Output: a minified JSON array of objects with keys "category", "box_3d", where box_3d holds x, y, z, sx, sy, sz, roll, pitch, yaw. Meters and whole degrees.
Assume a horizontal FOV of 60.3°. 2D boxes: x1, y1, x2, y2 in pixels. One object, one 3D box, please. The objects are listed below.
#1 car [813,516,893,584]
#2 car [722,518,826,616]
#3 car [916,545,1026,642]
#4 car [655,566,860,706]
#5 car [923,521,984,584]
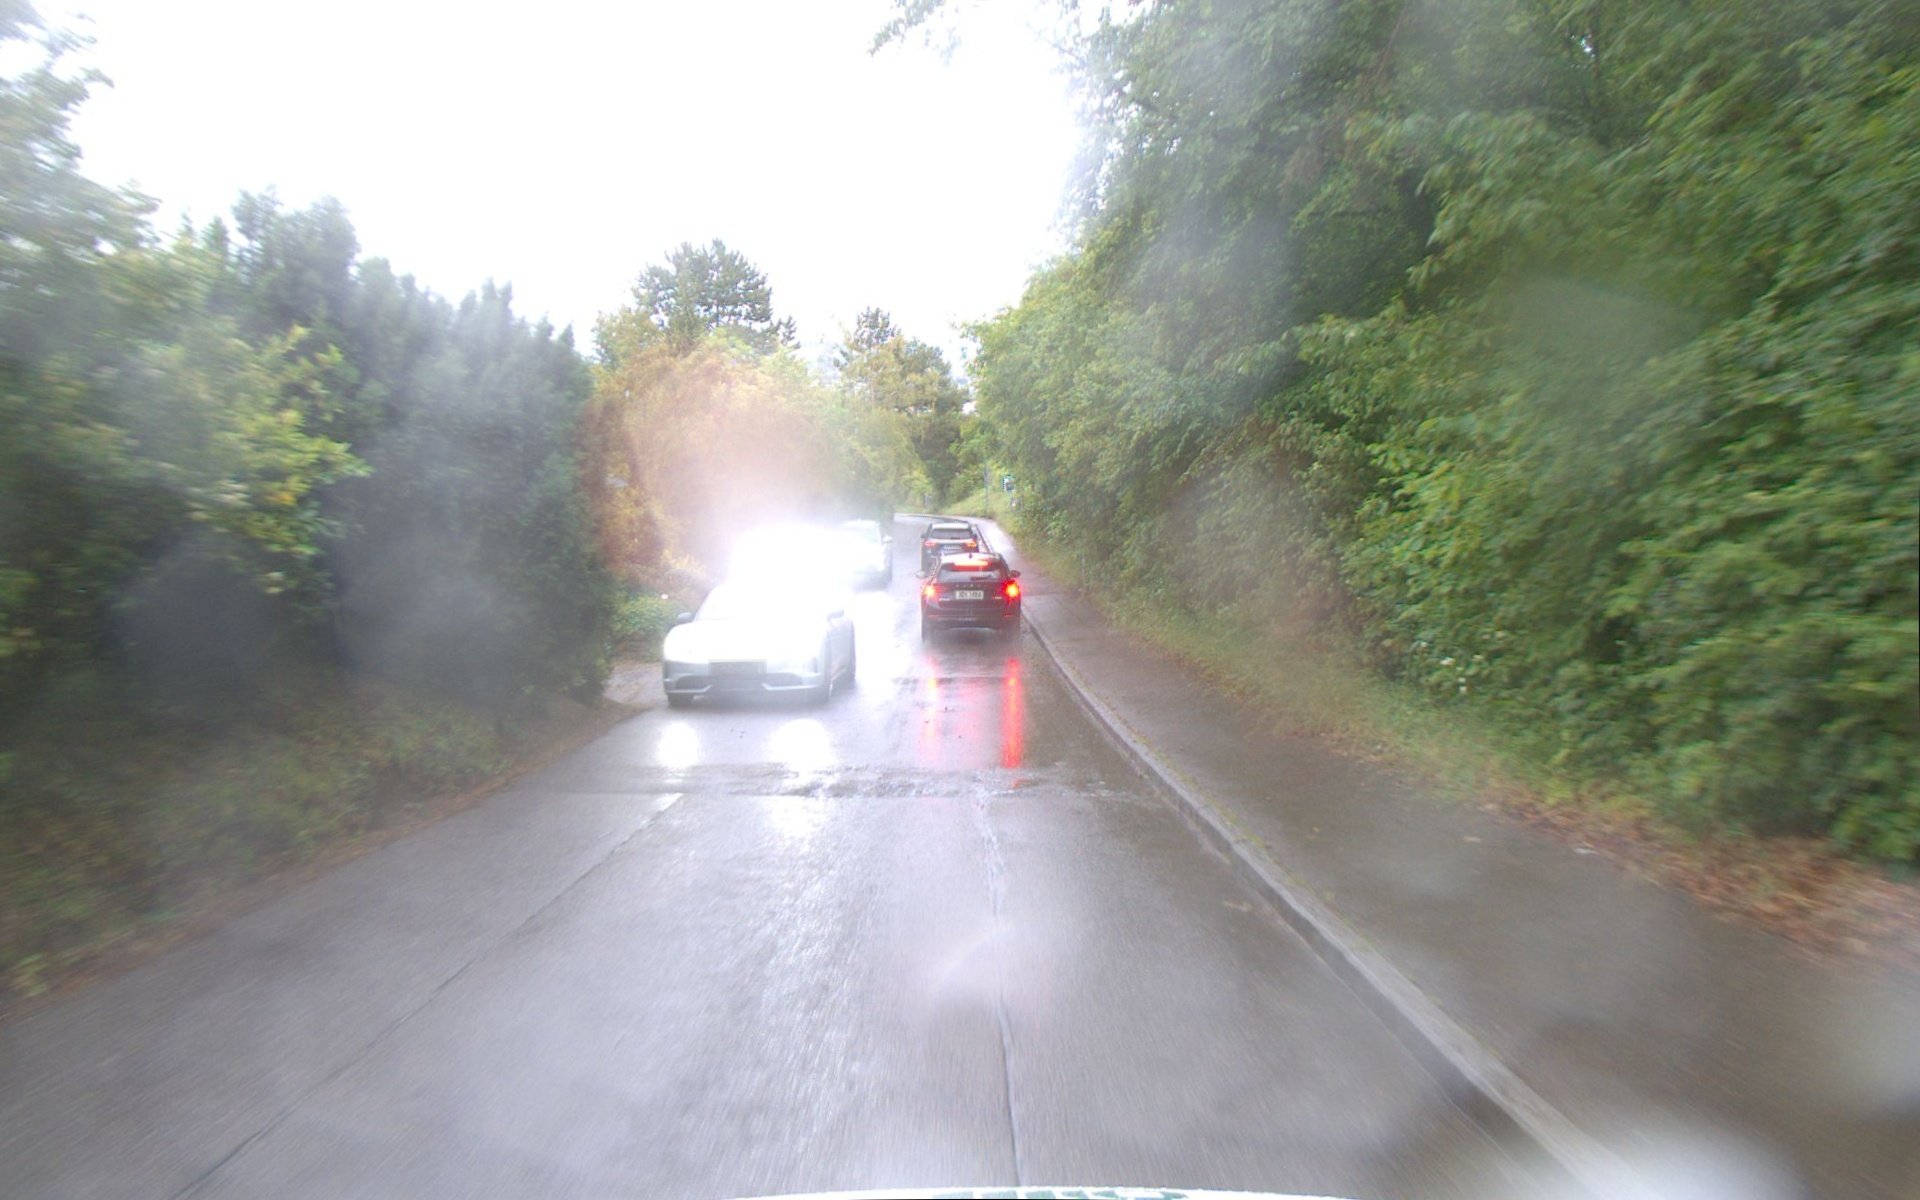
[{"category":"car","box_3d":[-2.864,-1.402,45.064,2.006,1.628,4.230,1,5,-1]},{"category":"car","box_3d":[-3.866,-0.754,35.033,1.655,1.813,4.234,-2,4,0]},{"category":"car","box_3d":[0.131,-0.174,29.665,1.666,1.475,3.999,-2,3,-4]},{"category":"car","box_3d":[-2.407,0.438,20.849,1.901,1.549,4.579,-1,-1,1]},{"category":"car","box_3d":[-0.232,-1.431,51.507,1.825,1.774,3.999,-1,-1,-1]}]
